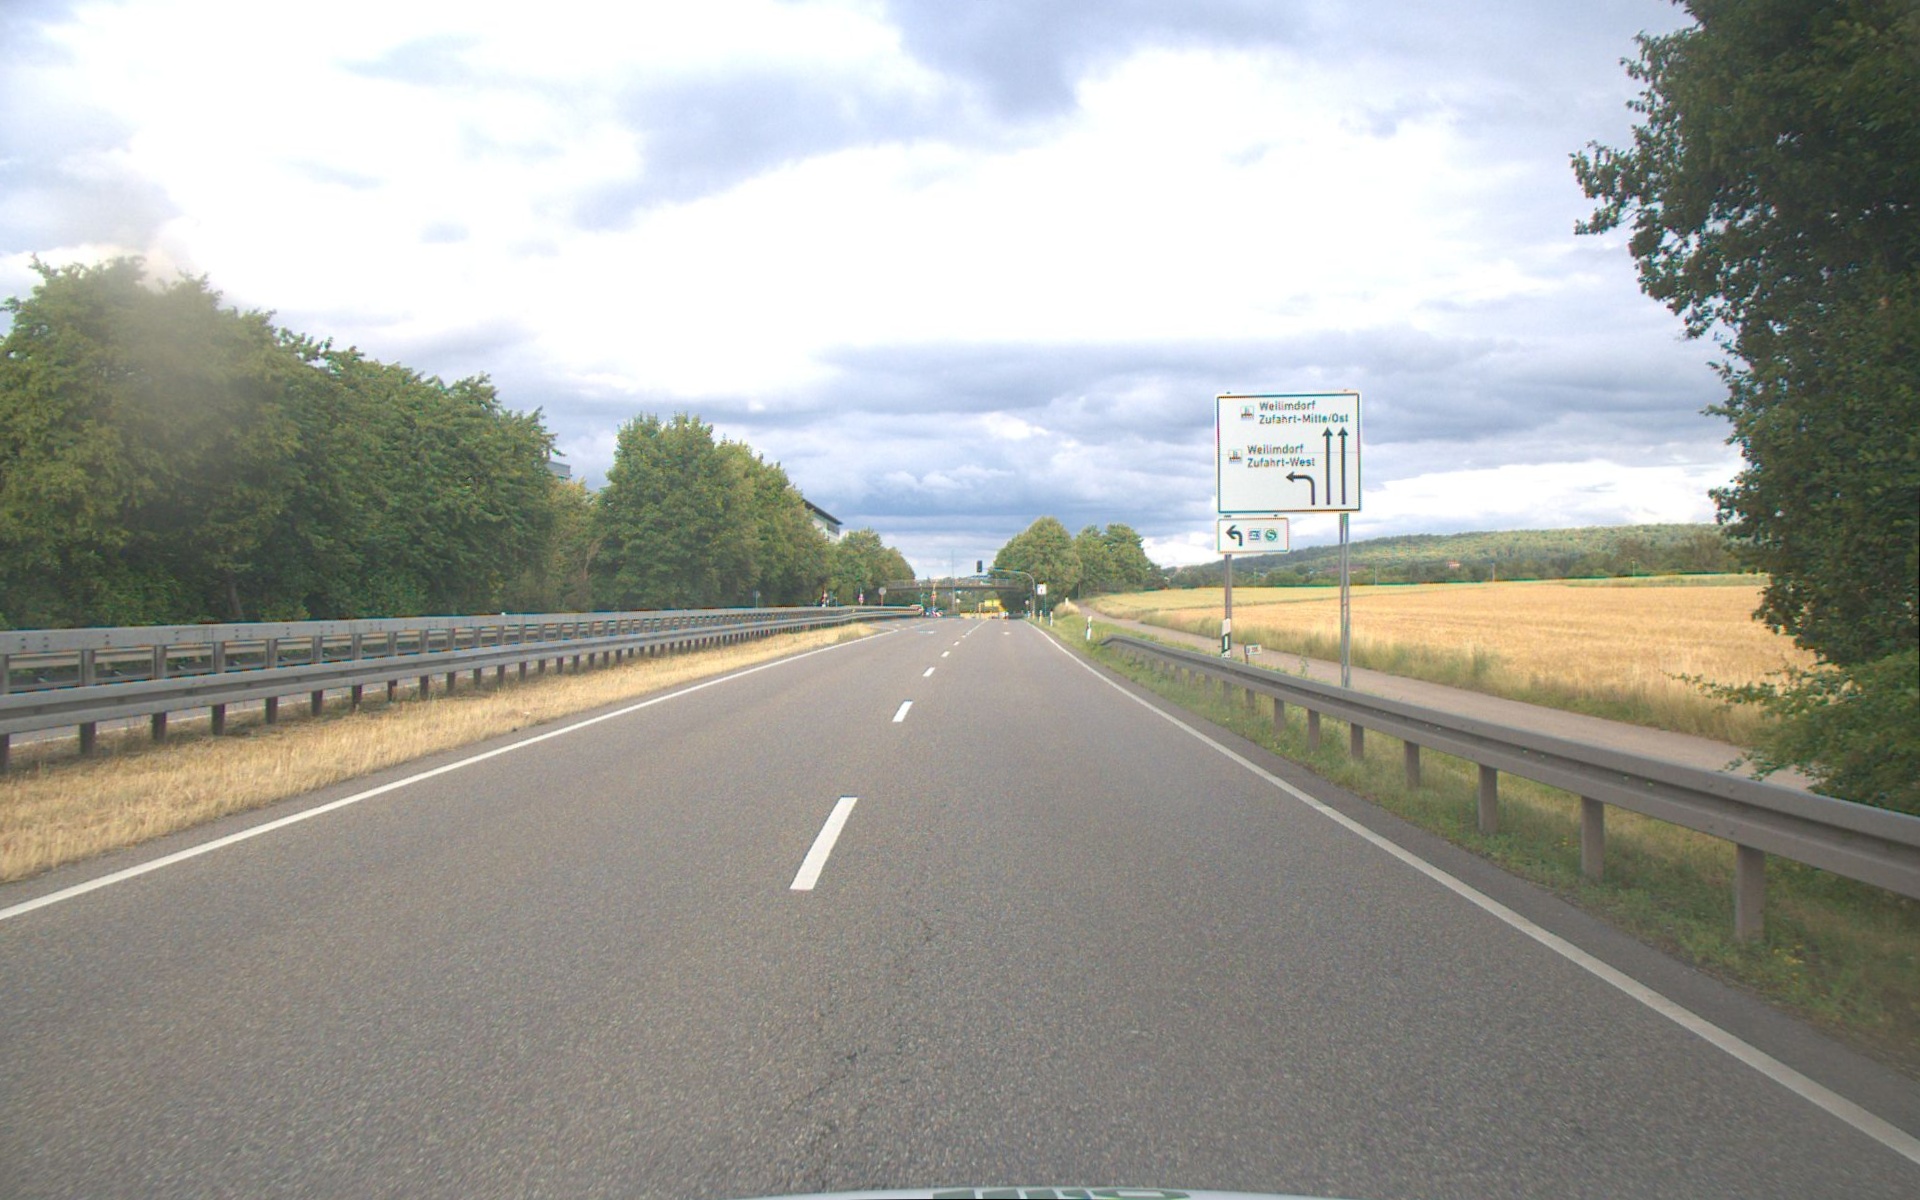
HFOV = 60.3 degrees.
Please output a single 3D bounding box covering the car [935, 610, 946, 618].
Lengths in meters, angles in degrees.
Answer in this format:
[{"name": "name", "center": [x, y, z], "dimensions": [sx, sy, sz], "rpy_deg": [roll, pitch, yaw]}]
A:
[{"name": "car", "center": [-2.722, 1.902, 227.398], "dimensions": [1.329, 1.111, 2.922], "rpy_deg": [0, 0, 2]}]
